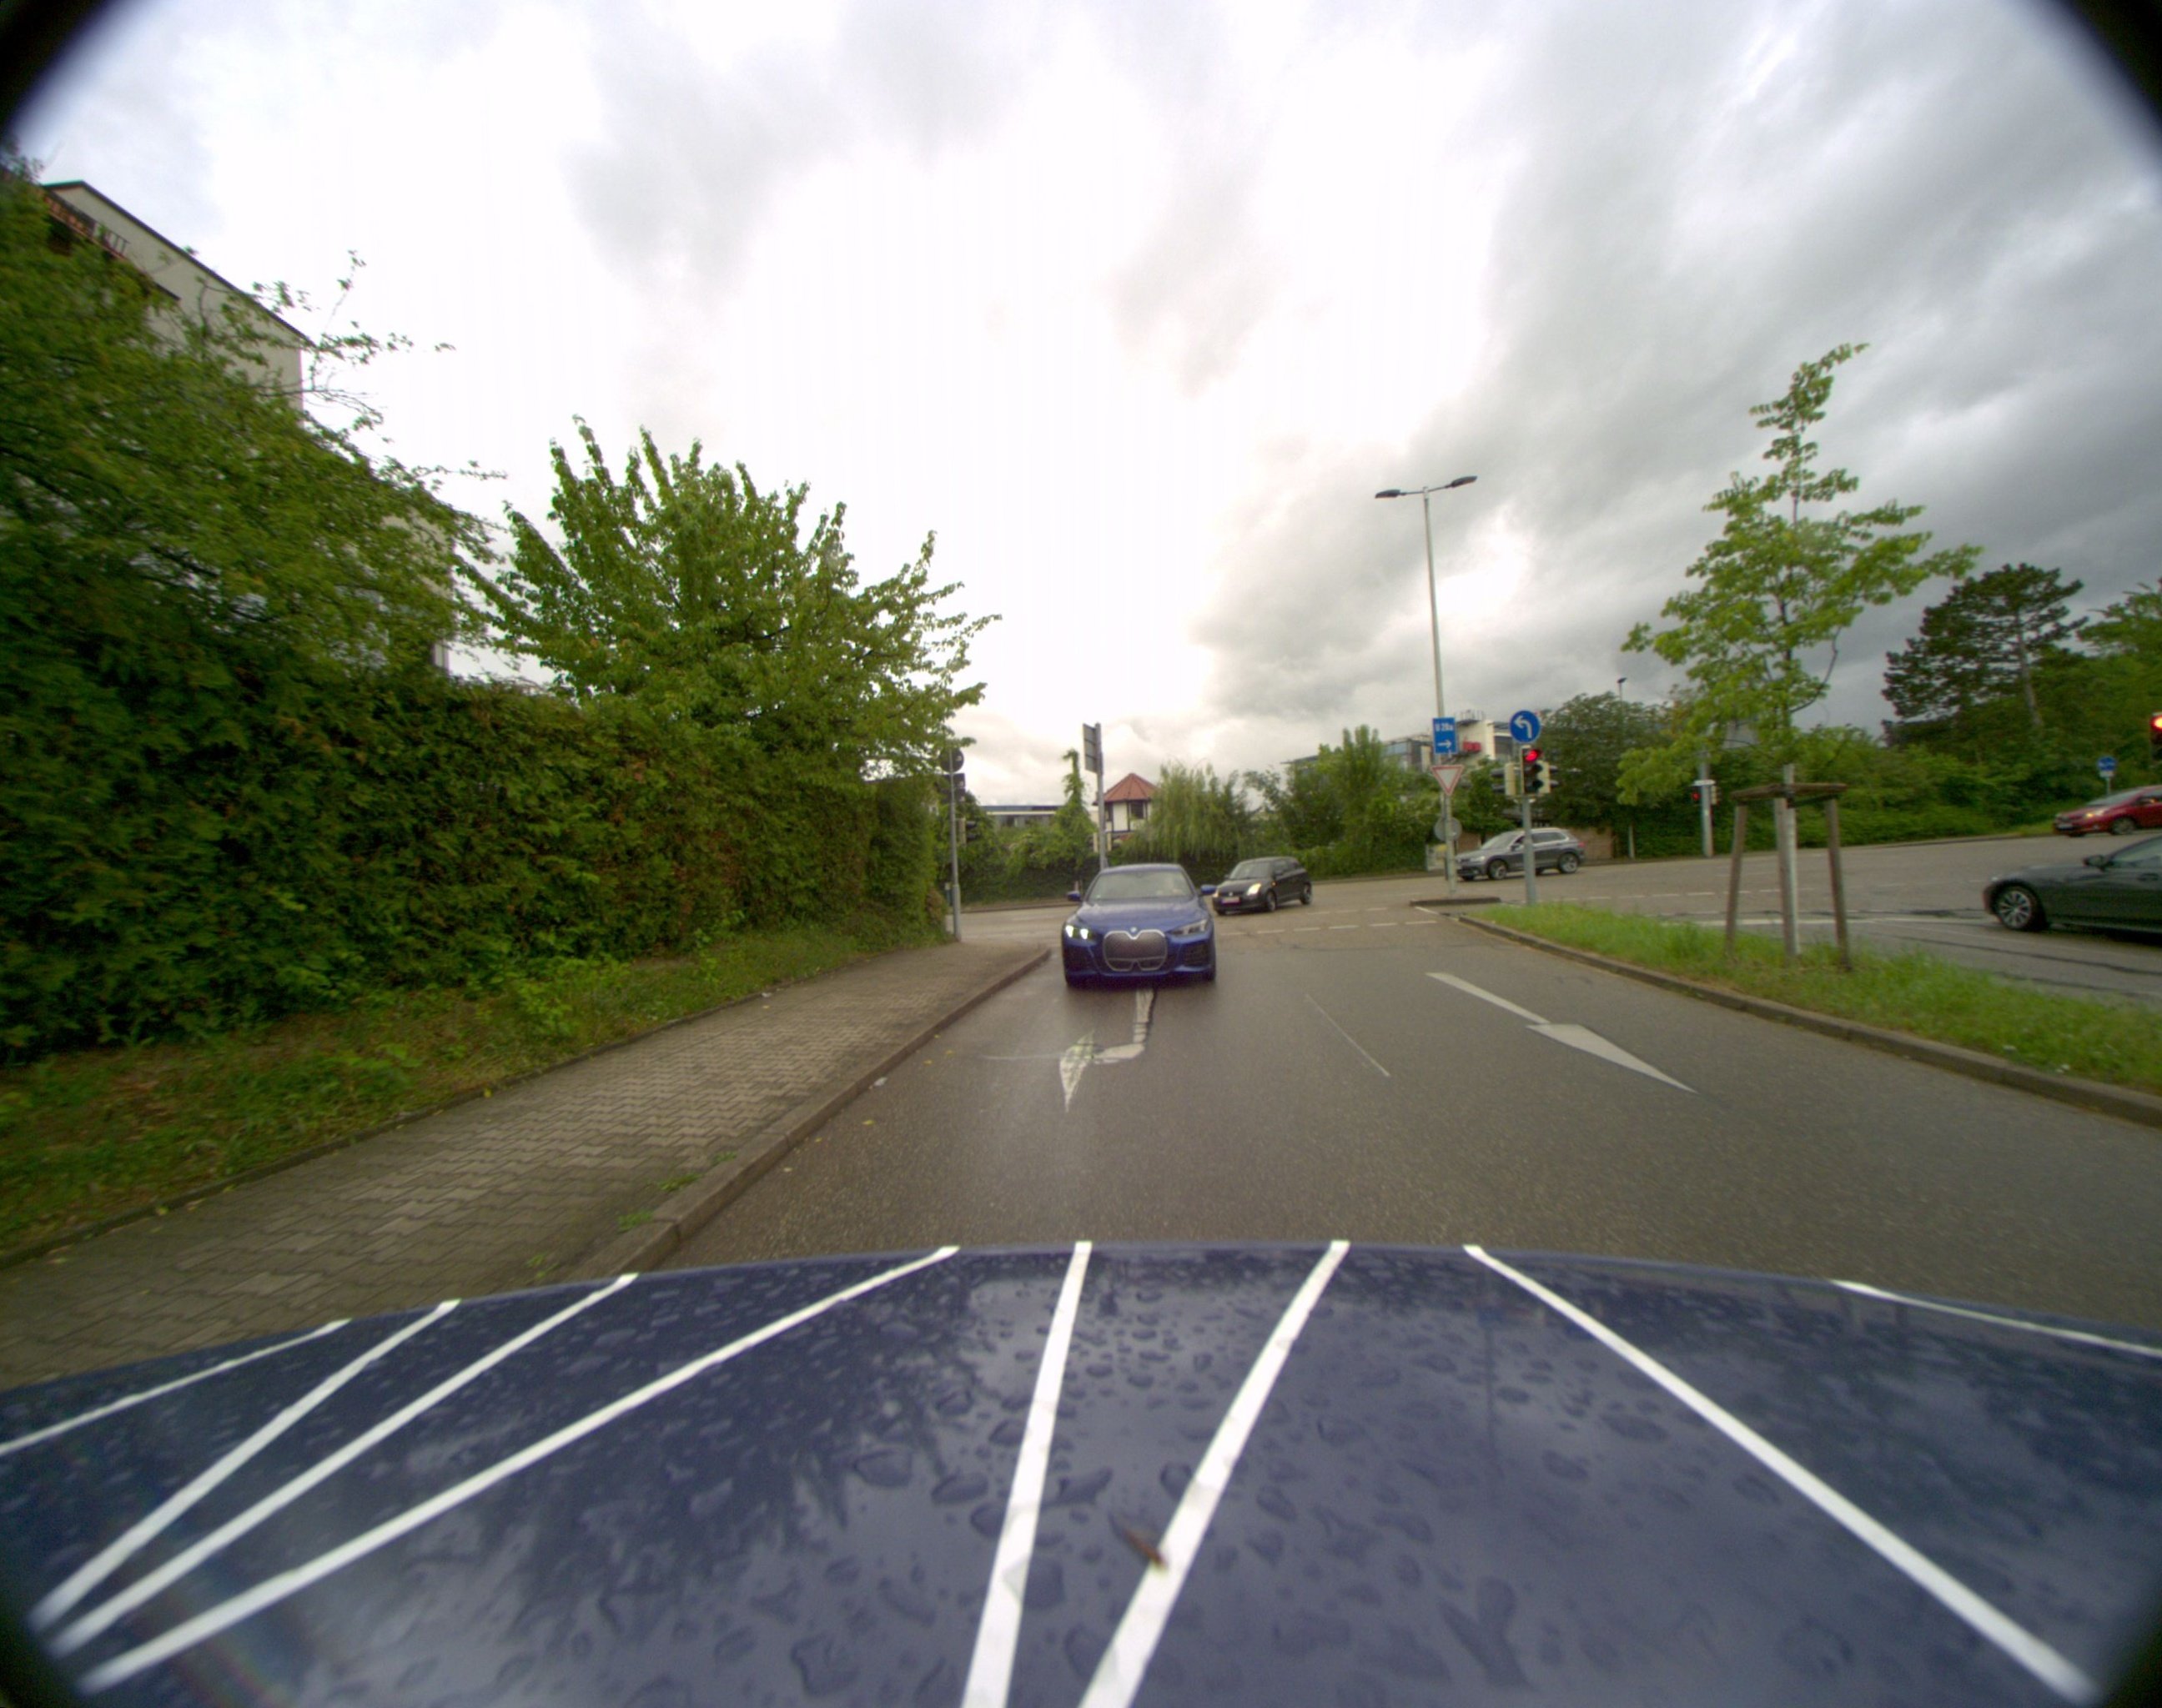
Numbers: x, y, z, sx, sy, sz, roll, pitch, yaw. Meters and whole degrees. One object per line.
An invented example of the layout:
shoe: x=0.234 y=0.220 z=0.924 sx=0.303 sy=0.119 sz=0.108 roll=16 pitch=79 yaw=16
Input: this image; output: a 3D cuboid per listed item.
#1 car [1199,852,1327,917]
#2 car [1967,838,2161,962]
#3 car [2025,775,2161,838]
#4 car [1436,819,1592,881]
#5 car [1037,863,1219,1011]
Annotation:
car: x=5.388 y=0.858 z=22.183 sx=1.743 sy=1.510 sz=4.007 roll=-7 pitch=-2 yaw=43
car: x=13.418 y=0.517 z=8.650 sx=1.996 sy=1.429 sz=4.553 roll=-1 pitch=-1 yaw=12
car: x=33.576 y=-1.593 z=24.145 sx=3.993 sy=1.715 sz=1.871 roll=-6 pitch=-1 yaw=18
car: x=15.277 y=-0.106 z=26.948 sx=4.305 sy=1.739 sz=1.969 roll=-5 pitch=-1 yaw=-3
car: x=0.590 y=0.934 z=10.480 sx=1.913 sy=1.487 sz=4.349 roll=-3 pitch=0 yaw=2
